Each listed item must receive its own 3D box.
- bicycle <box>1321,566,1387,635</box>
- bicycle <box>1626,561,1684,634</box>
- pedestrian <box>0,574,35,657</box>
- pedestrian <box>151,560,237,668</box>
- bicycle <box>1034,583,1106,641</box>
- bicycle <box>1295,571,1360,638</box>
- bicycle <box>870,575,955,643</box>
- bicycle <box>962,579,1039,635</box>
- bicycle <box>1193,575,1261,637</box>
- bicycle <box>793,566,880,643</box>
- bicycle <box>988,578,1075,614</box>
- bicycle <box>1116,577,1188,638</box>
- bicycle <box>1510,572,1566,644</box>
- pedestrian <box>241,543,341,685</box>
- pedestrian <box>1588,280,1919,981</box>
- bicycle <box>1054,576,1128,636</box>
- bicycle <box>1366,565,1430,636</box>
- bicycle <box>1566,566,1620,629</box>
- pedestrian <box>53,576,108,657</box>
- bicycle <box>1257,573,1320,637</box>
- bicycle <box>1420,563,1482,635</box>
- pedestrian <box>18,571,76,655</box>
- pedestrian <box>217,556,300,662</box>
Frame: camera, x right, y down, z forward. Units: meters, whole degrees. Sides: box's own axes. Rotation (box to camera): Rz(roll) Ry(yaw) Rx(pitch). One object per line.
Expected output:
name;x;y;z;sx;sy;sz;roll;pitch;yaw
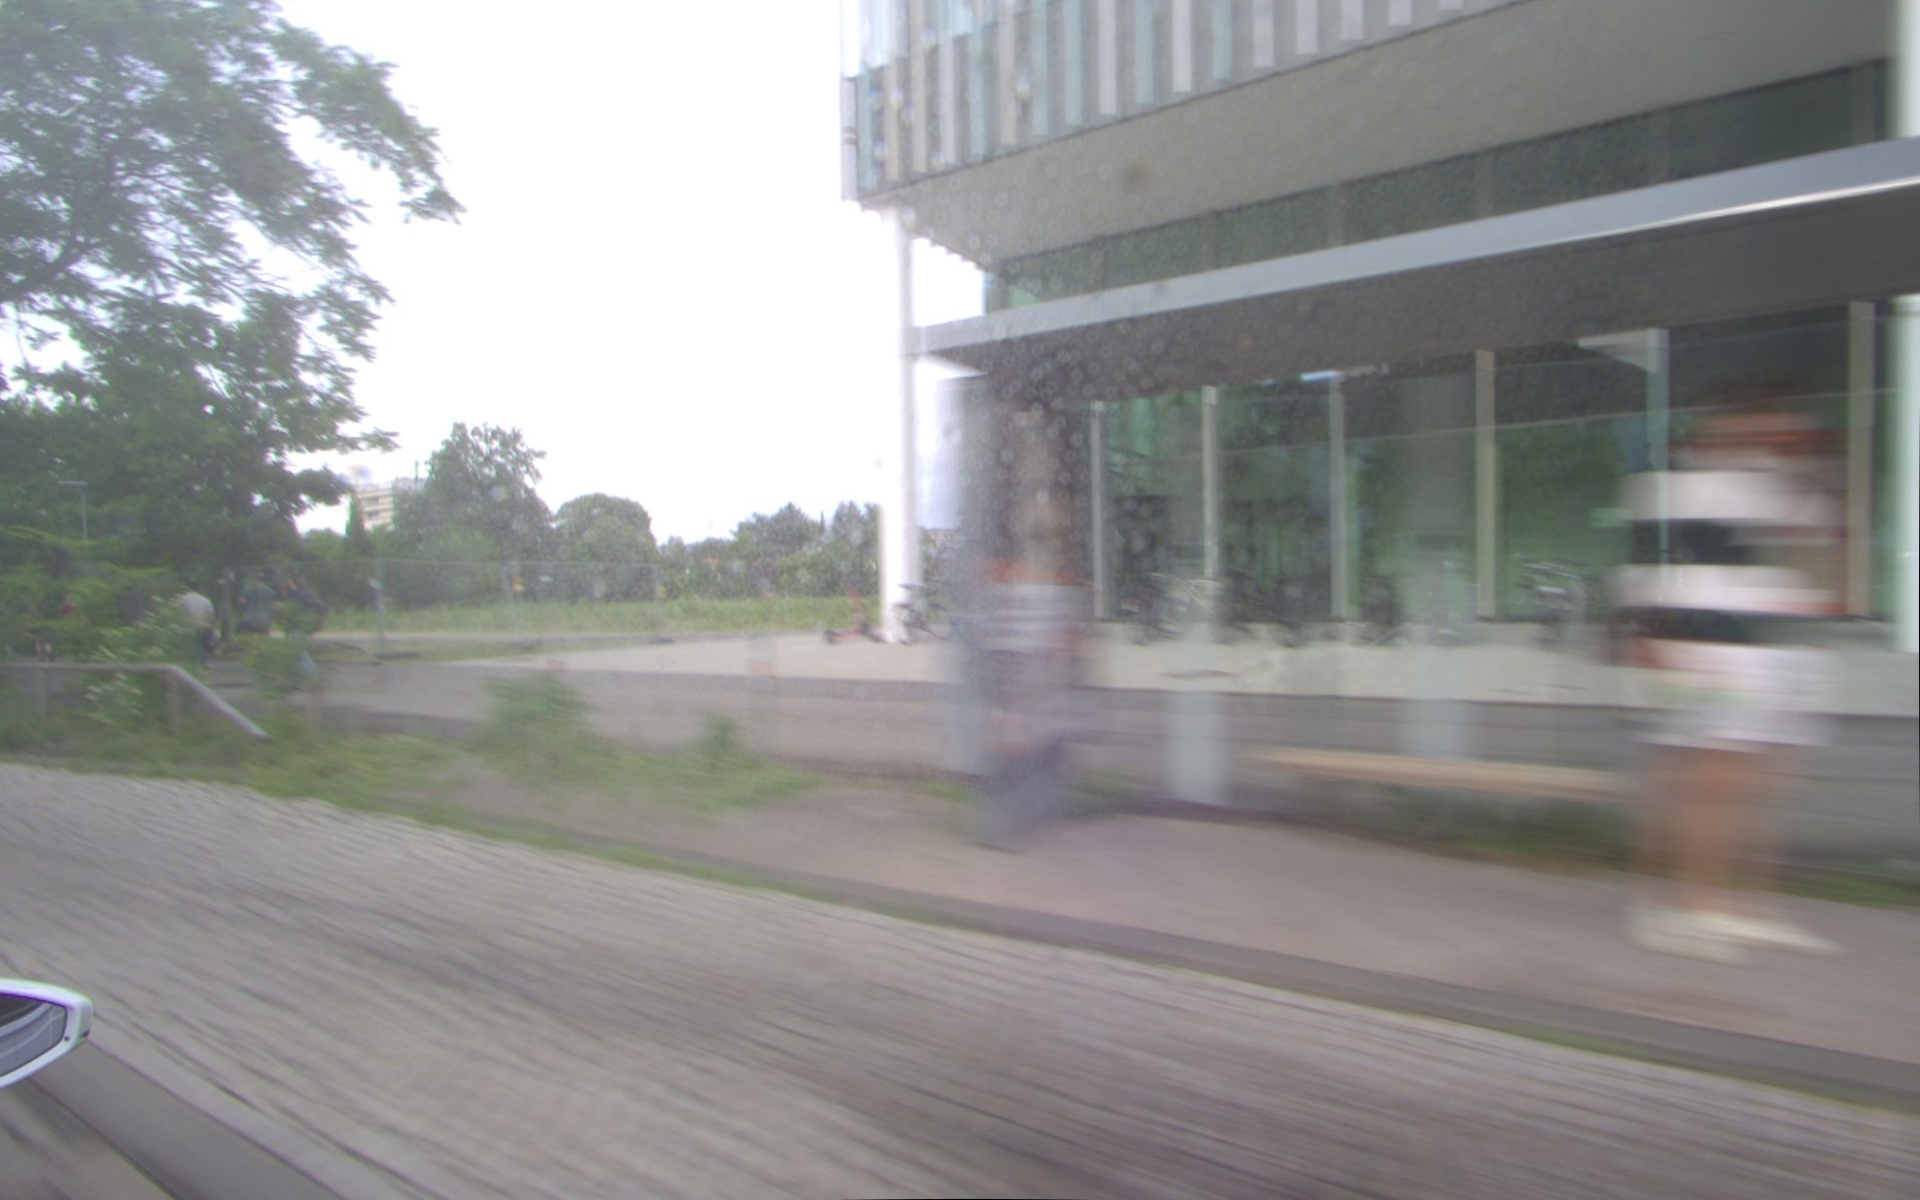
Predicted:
bicycle;5.531;-0.015;14.013;0.548;0.887;1.601;0;3;33
bicycle;8.713;-0.055;12.582;0.548;0.845;1.528;0;3;33
pedestrian;-23.911;0.383;24.952;1.024;2.041;0.924;0;2;29
pedestrian;-14.964;0.258;19.564;1.024;2.041;0.924;0;2;29
bicycle;1.905;0.188;17.154;0.548;0.887;1.601;0;3;33
bicycle;5.432;0.045;14.771;0.548;0.887;1.601;0;3;33
bicycle;-0.844;0.147;18.273;0.617;1.097;1.789;0;4;31
bicycle;0.715;0.100;17.072;0.548;0.887;1.601;0;2;33
bicycle;4.185;0.078;15.613;0.548;0.887;1.601;0;3;33
bicycle;-2.346;0.067;19.176;1.635;1.352;0.458;-6;5;-44
bicycle;2.370;-0.137;33.374;2.756;1.145;1.026;0;2;38
bicycle;3.109;0.100;16.107;0.548;0.887;1.601;0;3;33
bicycle;7.535;0.083;13.024;0.548;0.850;1.450;0;3;33
pedestrian;-9.984;0.202;14.963;0.879;2.041;0.842;0;2;24
pedestrian;2.726;0.071;3.480;0.841;2.042;0.910;2;5;32
bicycle;2.184;0.080;16.521;0.548;0.887;1.601;0;3;33
bicycle;6.008;-0.018;13.690;0.548;0.887;1.601;0;3;33
bicycle;8.021;-0.053;12.680;0.548;0.726;1.555;0;3;33
pedestrian;-22.783;0.419;25.949;0.710;2.041;0.822;0;3;32
bicycle;4.962;0.055;15.075;0.509;0.896;1.599;0;2;33
bicycle;6.565;-0.035;13.358;0.548;0.887;1.601;0;3;33
pedestrian;-23.003;0.316;25.238;0.710;2.042;0.821;0;3;32
pedestrian;-14.001;0.164;19.988;1.024;2.041;0.924;0;2;29
